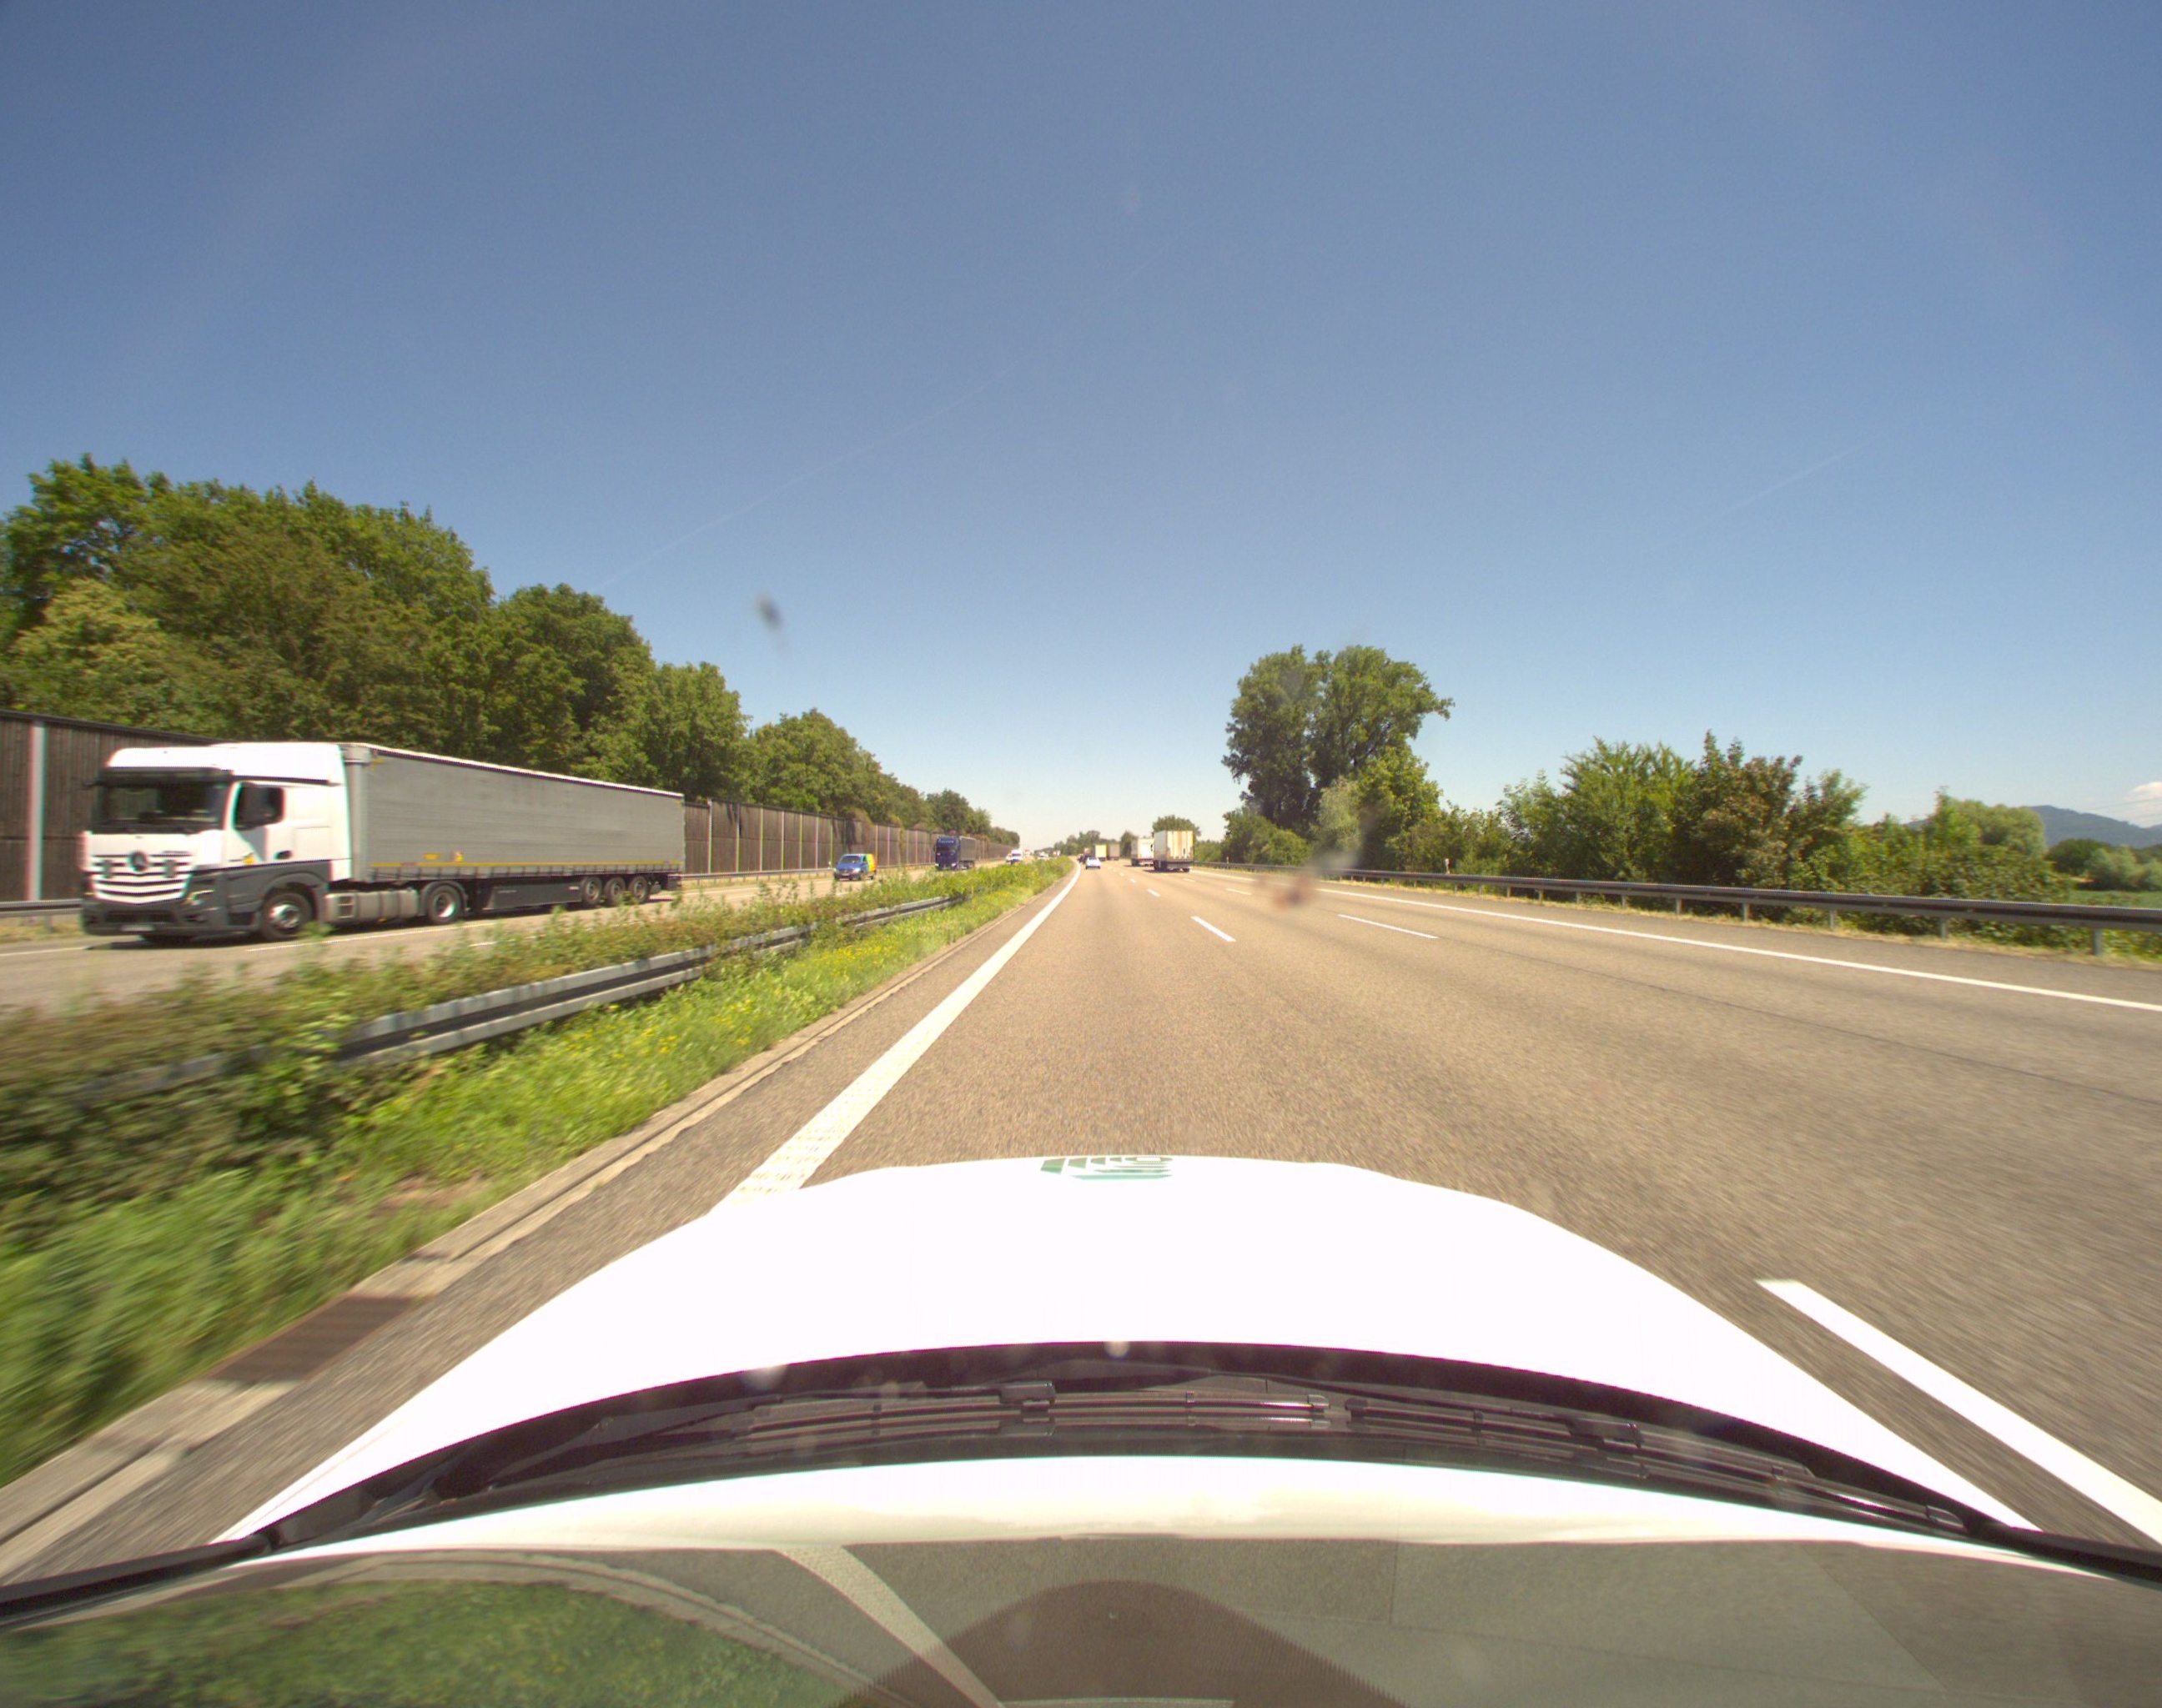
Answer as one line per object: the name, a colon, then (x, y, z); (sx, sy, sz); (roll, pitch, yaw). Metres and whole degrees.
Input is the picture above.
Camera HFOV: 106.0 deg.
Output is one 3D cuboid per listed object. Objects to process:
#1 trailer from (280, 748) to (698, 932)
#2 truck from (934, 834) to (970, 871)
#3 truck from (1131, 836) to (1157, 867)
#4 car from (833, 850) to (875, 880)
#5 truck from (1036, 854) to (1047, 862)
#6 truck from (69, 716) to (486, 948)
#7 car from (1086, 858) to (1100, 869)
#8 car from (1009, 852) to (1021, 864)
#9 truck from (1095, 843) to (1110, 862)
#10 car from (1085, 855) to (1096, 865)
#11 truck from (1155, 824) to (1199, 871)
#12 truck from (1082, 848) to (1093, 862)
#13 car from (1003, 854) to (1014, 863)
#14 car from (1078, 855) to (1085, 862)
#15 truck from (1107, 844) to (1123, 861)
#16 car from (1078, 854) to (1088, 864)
trailer: (-16.202, -0.279, 24.656); (2.495, 4.034, 13.425); (0, 0, 2)
truck: (-15.196, -0.087, 96.898); (2.602, 4.128, 10.278); (0, 0, 0)
truck: (9.030, -0.320, 118.348); (3.346, 4.311, 10.834); (0, -1, 2)
car: (-15.874, 0.786, 57.175); (1.795, 2.014, 4.000); (0, -1, 1)
truck: (-7.929, 0.867, 163.581); (1.812, 1.524, 3.628); (0, -1, 0)
truck: (-16.425, -0.376, 17.471); (2.492, 4.055, 6.364); (0, 0, 2)
car: (1.516, 1.135, 100.924); (1.708, 1.369, 3.377); (-1, 0, 2)
car: (-11.705, 0.703, 144.427); (1.988, 2.014, 3.998); (0, -1, -1)
truck: (5.123, -0.350, 197.524); (3.567, 4.311, 12.191); (0, -1, 1)
car: (1.659, 1.088, 142.968); (1.987, 1.772, 4.000); (0, 0, 1)
truck: (9.271, -0.512, 79.896); (3.478, 4.311, 10.994); (0, -1, 2)
truck: (1.708, 0.260, 205.766); (2.534, 3.413, 8.383); (0, 0, 2)
car: (-16.430, 0.959, 184.974); (1.986, 2.014, 4.002); (0, -1, 2)
car: (0.053, 1.196, 215.835); (1.717, 1.783, 4.001); (0, 0, 2)
truck: (8.988, -0.407, 215.152); (3.817, 4.311, 11.554); (0, -1, 1)
car: (0.487, 1.087, 172.188); (1.986, 2.014, 4.001); (0, -1, 2)
